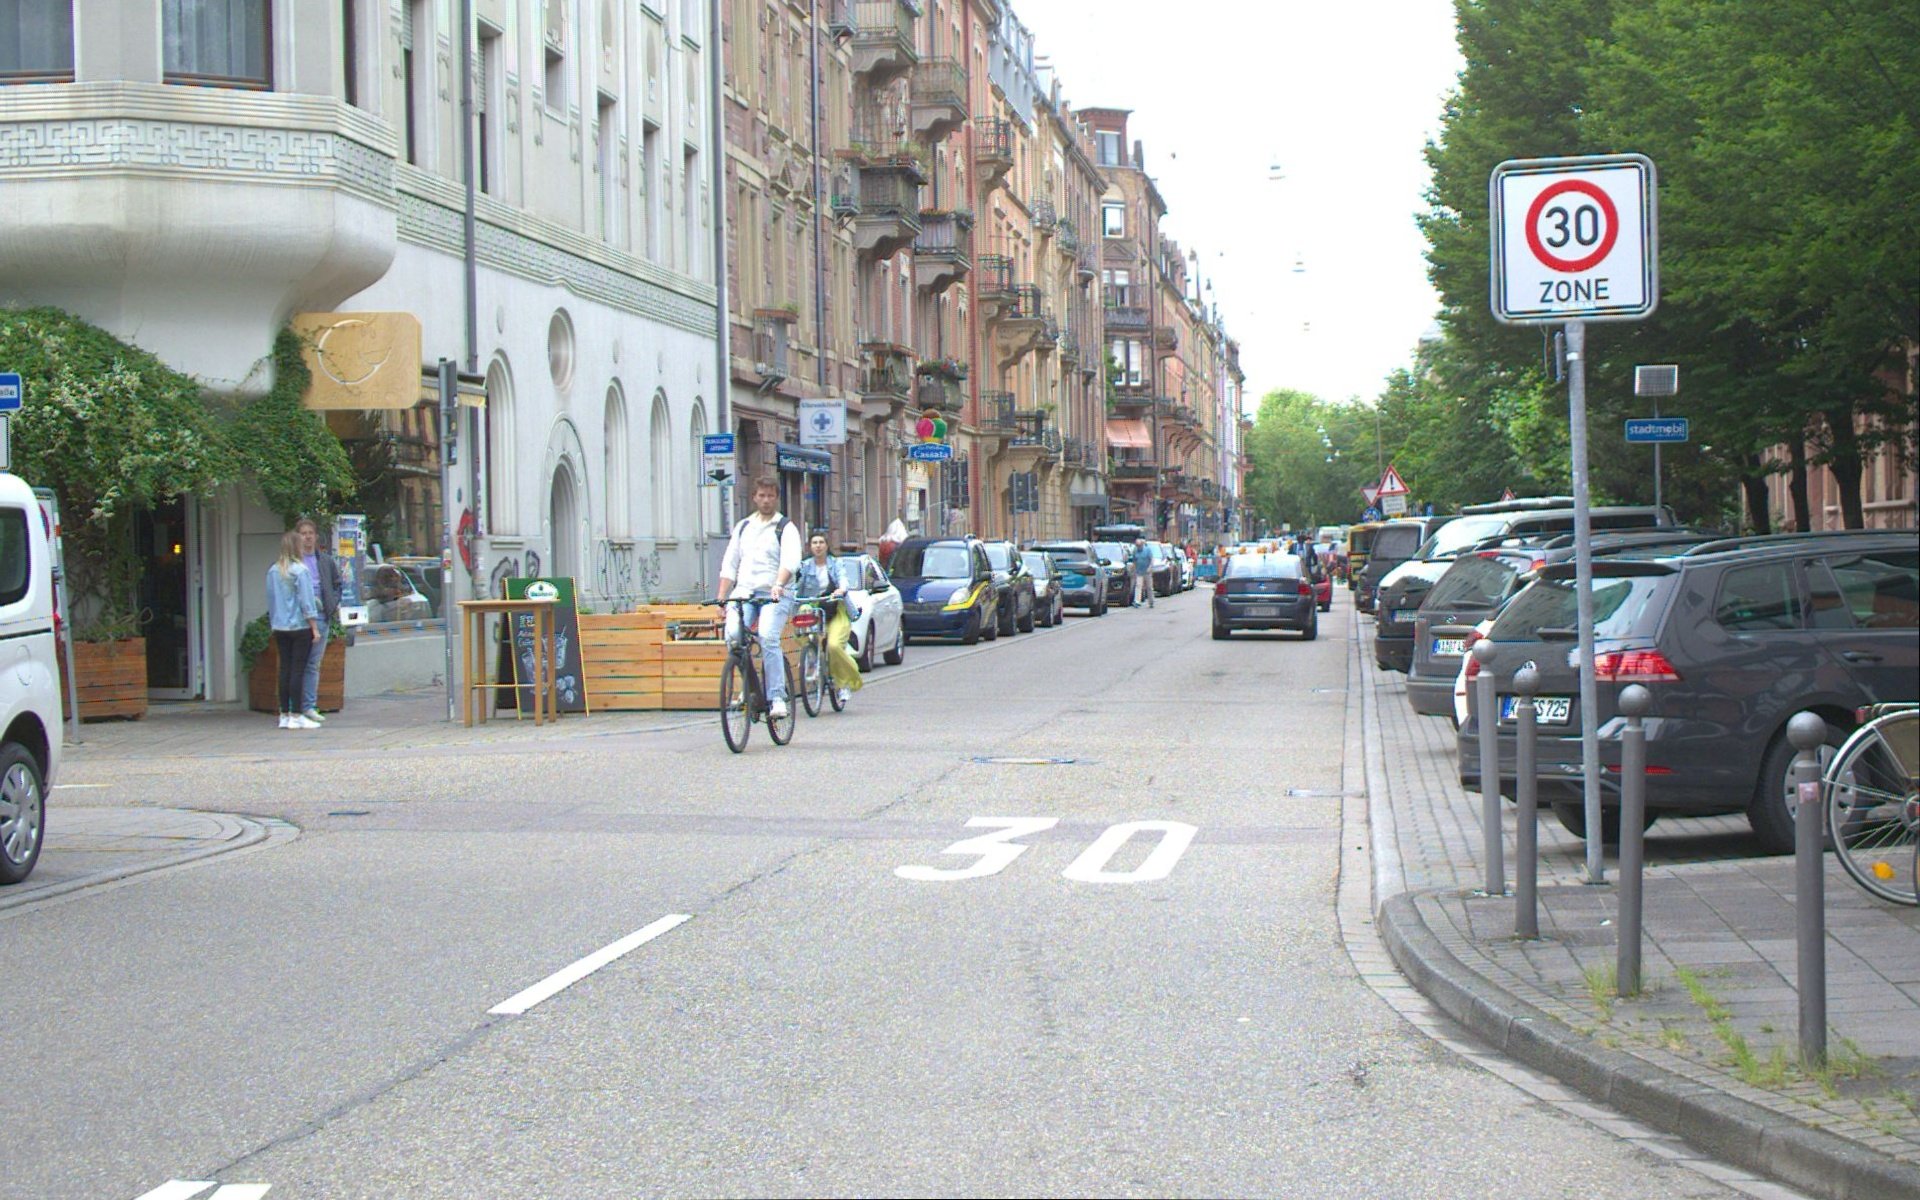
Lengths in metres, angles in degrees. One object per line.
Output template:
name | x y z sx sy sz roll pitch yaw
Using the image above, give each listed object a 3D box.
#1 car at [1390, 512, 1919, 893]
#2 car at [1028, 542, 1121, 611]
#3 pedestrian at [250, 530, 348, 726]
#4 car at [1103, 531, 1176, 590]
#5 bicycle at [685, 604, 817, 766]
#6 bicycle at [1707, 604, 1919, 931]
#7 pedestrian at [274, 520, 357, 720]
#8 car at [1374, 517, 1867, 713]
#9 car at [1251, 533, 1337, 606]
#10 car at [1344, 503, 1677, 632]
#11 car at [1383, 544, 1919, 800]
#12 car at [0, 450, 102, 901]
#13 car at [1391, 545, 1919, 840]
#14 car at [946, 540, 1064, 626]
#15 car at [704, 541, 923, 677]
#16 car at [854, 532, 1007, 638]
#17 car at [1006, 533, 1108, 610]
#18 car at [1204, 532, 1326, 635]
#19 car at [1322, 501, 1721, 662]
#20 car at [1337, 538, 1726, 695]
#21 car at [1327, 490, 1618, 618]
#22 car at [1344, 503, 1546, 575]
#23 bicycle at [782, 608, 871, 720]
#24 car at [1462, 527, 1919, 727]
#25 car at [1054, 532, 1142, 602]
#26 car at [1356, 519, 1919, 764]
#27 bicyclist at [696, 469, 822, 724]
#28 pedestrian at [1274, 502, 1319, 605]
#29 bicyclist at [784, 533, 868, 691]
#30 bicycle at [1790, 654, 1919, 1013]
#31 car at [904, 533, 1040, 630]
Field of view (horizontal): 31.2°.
car | 4.454 0.382 16.801 4.273 1.573 1.864 -4 1 -26
car | 2.746 -0.568 81.611 1.944 1.611 3.942 0 1 6
pedestrian | -5.651 0.241 29.402 0.579 1.655 0.575 -1 0 28
car | 5.487 -1.228 104.846 1.944 1.732 3.942 -1 1 7
bicycle | -1.512 0.601 25.191 0.567 1.084 1.986 -1 1 8
bicycle | 3.733 0.575 12.481 1.884 1.137 0.612 -2 0 4
pedestrian | -5.654 0.174 30.154 0.578 1.729 0.506 0 0 -29
car | 5.980 0.116 31.120 4.046 1.579 1.771 -2 0 -24
car | 8.009 -0.713 82.528 1.994 1.675 3.999 -1 0 5
car | 9.328 -0.553 58.114 5.386 1.985 1.951 -2 0 -27
car | 4.979 0.431 22.505 3.972 1.538 1.876 0 1 -24
car | -5.204 0.354 13.726 1.844 1.933 4.546 0 1 8
car | 4.443 0.456 19.492 3.554 1.493 1.846 -1 1 -29
car | 0.900 -0.351 66.447 1.944 1.611 3.942 0 1 6
car | -1.760 0.084 42.691 1.945 1.548 3.816 -2 0 9
car | -0.421 -0.252 54.038 1.944 1.611 3.942 0 1 7
car | 2.160 -0.643 75.549 1.944 1.611 3.942 -1 1 6
car | 5.209 -0.267 58.662 1.994 1.675 3.999 -1 0 5
car | 8.202 -0.285 50.092 5.606 2.120 1.951 -2 0 -27
car | 6.082 0.157 36.482 3.851 1.500 1.771 -2 0 -33
car | 10.316 -0.931 69.255 5.385 2.365 1.951 -2 0 -14
car | 13.796 -1.742 97.678 5.385 1.861 1.951 -2 0 -23
bicycle | -1.189 0.559 30.837 0.535 0.974 1.865 -1 0 6
car | 6.351 0.193 28.692 4.047 1.481 1.682 -2 0 -29
car | 3.535 -0.853 87.355 1.944 1.736 3.942 0 1 7
car | 5.161 0.267 25.138 4.046 1.579 1.904 -2 0 -24
bicyclist | -1.485 -0.028 25.512 0.782 1.860 0.714 -1 1 8
pedestrian | 7.017 -0.960 71.715 0.891 2.138 1.028 -1 0 5
bicyclist | -1.202 0.107 30.953 0.668 1.394 0.783 -1 0 4
bicycle | 3.541 0.667 10.405 1.884 1.040 0.612 -2 0 4
car | 0.244 -0.335 59.470 1.944 1.611 3.942 0 1 7
